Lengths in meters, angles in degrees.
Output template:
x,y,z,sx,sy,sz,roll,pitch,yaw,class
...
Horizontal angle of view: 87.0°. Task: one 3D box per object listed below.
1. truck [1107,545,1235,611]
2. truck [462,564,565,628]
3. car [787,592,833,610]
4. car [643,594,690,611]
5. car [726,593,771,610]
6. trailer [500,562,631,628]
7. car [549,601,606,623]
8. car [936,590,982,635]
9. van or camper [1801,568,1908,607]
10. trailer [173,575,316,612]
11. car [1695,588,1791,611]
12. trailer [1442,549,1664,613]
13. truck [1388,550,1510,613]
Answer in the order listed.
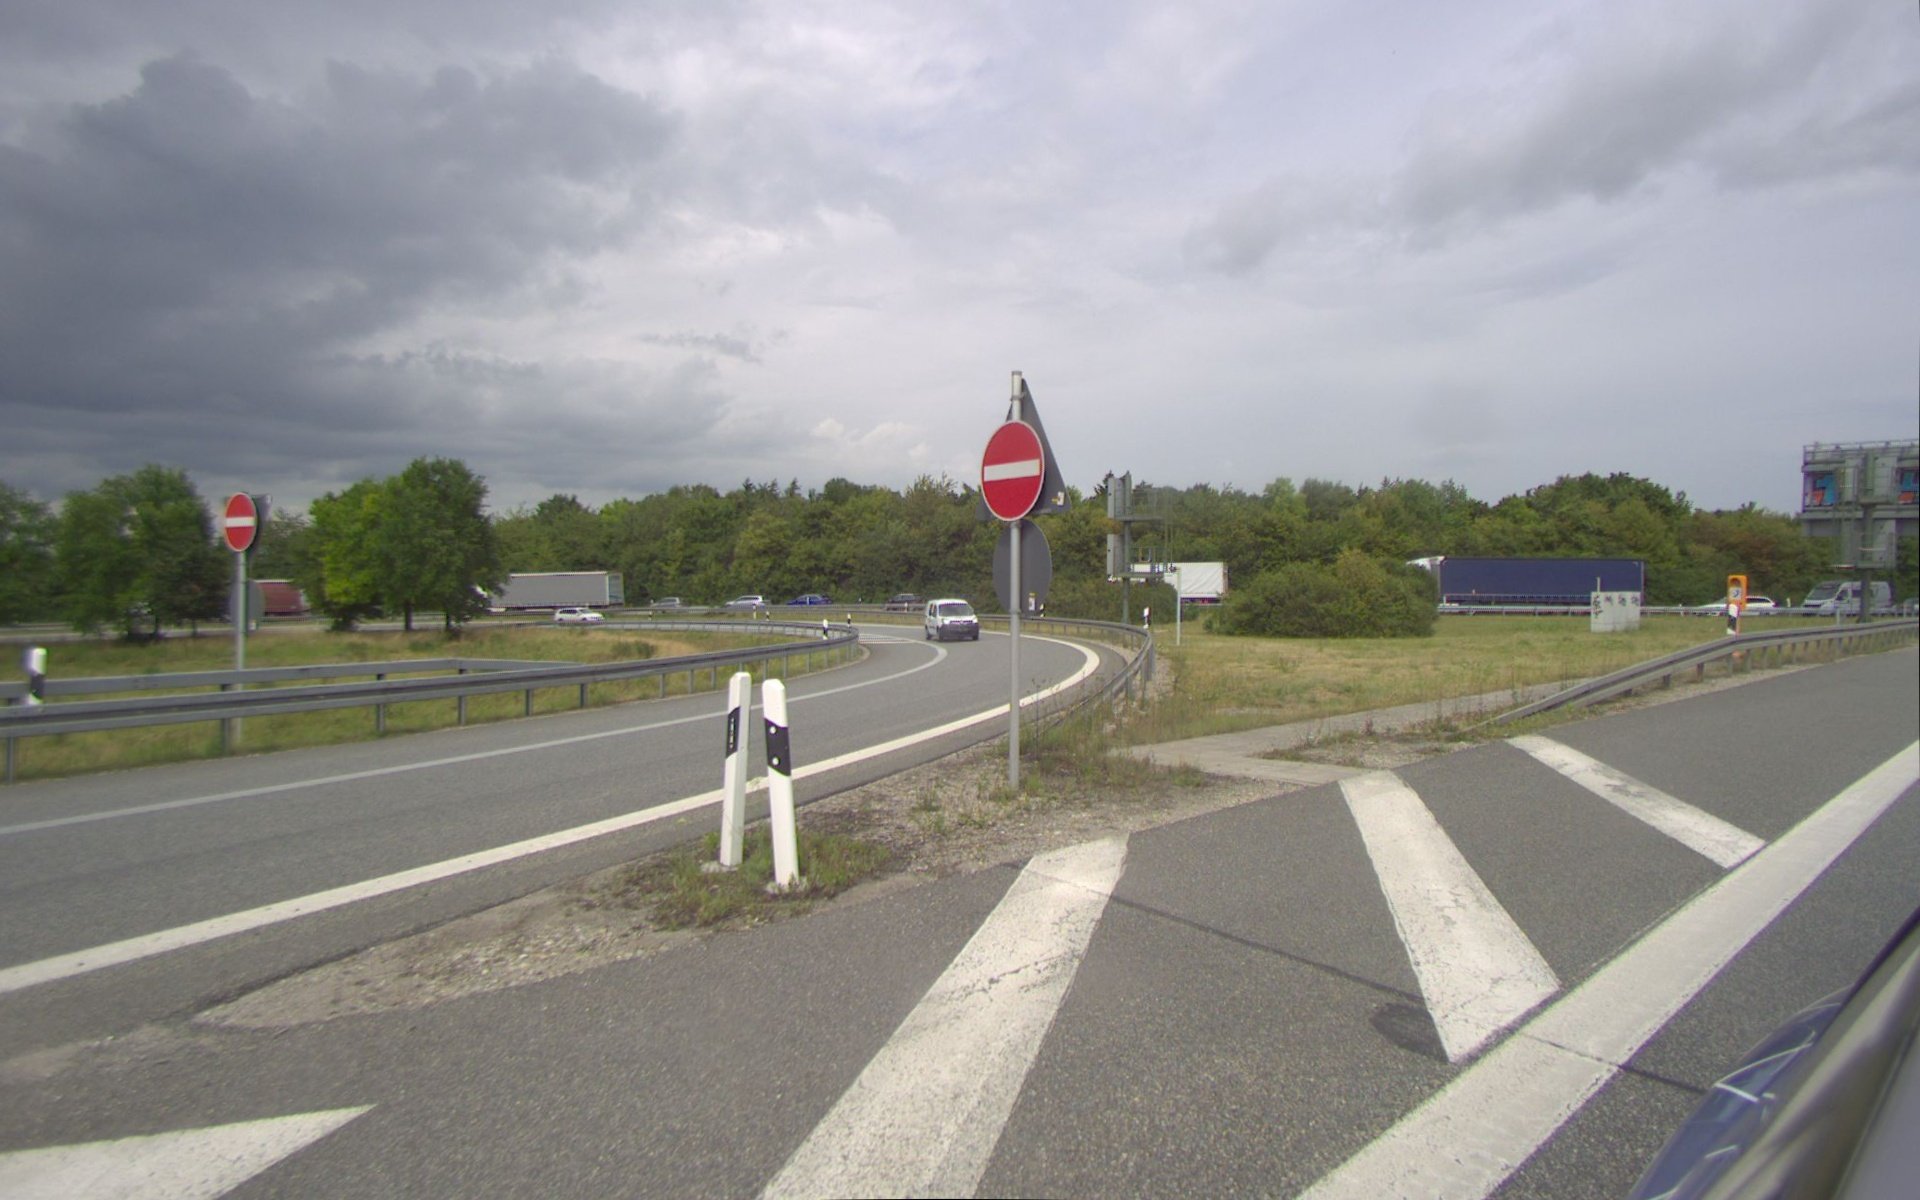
x,y,z,sx,sy,sz,roll,pitch,yaw,class
15.714,-1.550,75.375,8.883,4.674,3.260,-1,0,22,truck
-44.404,-0.367,100.670,8.846,6.150,4.050,-1,0,15,truck
-13.195,0.108,88.950,3.964,1.487,1.484,-1,0,29,car
-27.773,0.213,95.761,3.949,1.505,1.822,-1,0,20,car
-19.314,0.135,92.352,3.957,1.553,1.557,-1,0,25,car
-38.579,-0.458,99.027,11.921,6.165,3.999,-1,0,16,trailer
-31.364,1.007,82.990,4.476,1.772,1.784,-1,0,25,car
0.007,0.515,43.579,1.767,1.772,3.998,-2,0,2,car
60.225,-0.842,68.160,6.031,2.600,2.306,0,0,-13,van or camper
-70.889,-0.682,100.468,11.452,3.492,3.137,-1,0,-6,trailer
51.849,-0.061,67.047,4.693,1.520,2.215,0,1,-3,car
40.190,-1.255,68.982,12.797,4.246,3.338,0,0,4,trailer
33.424,-1.249,69.411,6.665,4.147,3.368,0,0,3,truck
